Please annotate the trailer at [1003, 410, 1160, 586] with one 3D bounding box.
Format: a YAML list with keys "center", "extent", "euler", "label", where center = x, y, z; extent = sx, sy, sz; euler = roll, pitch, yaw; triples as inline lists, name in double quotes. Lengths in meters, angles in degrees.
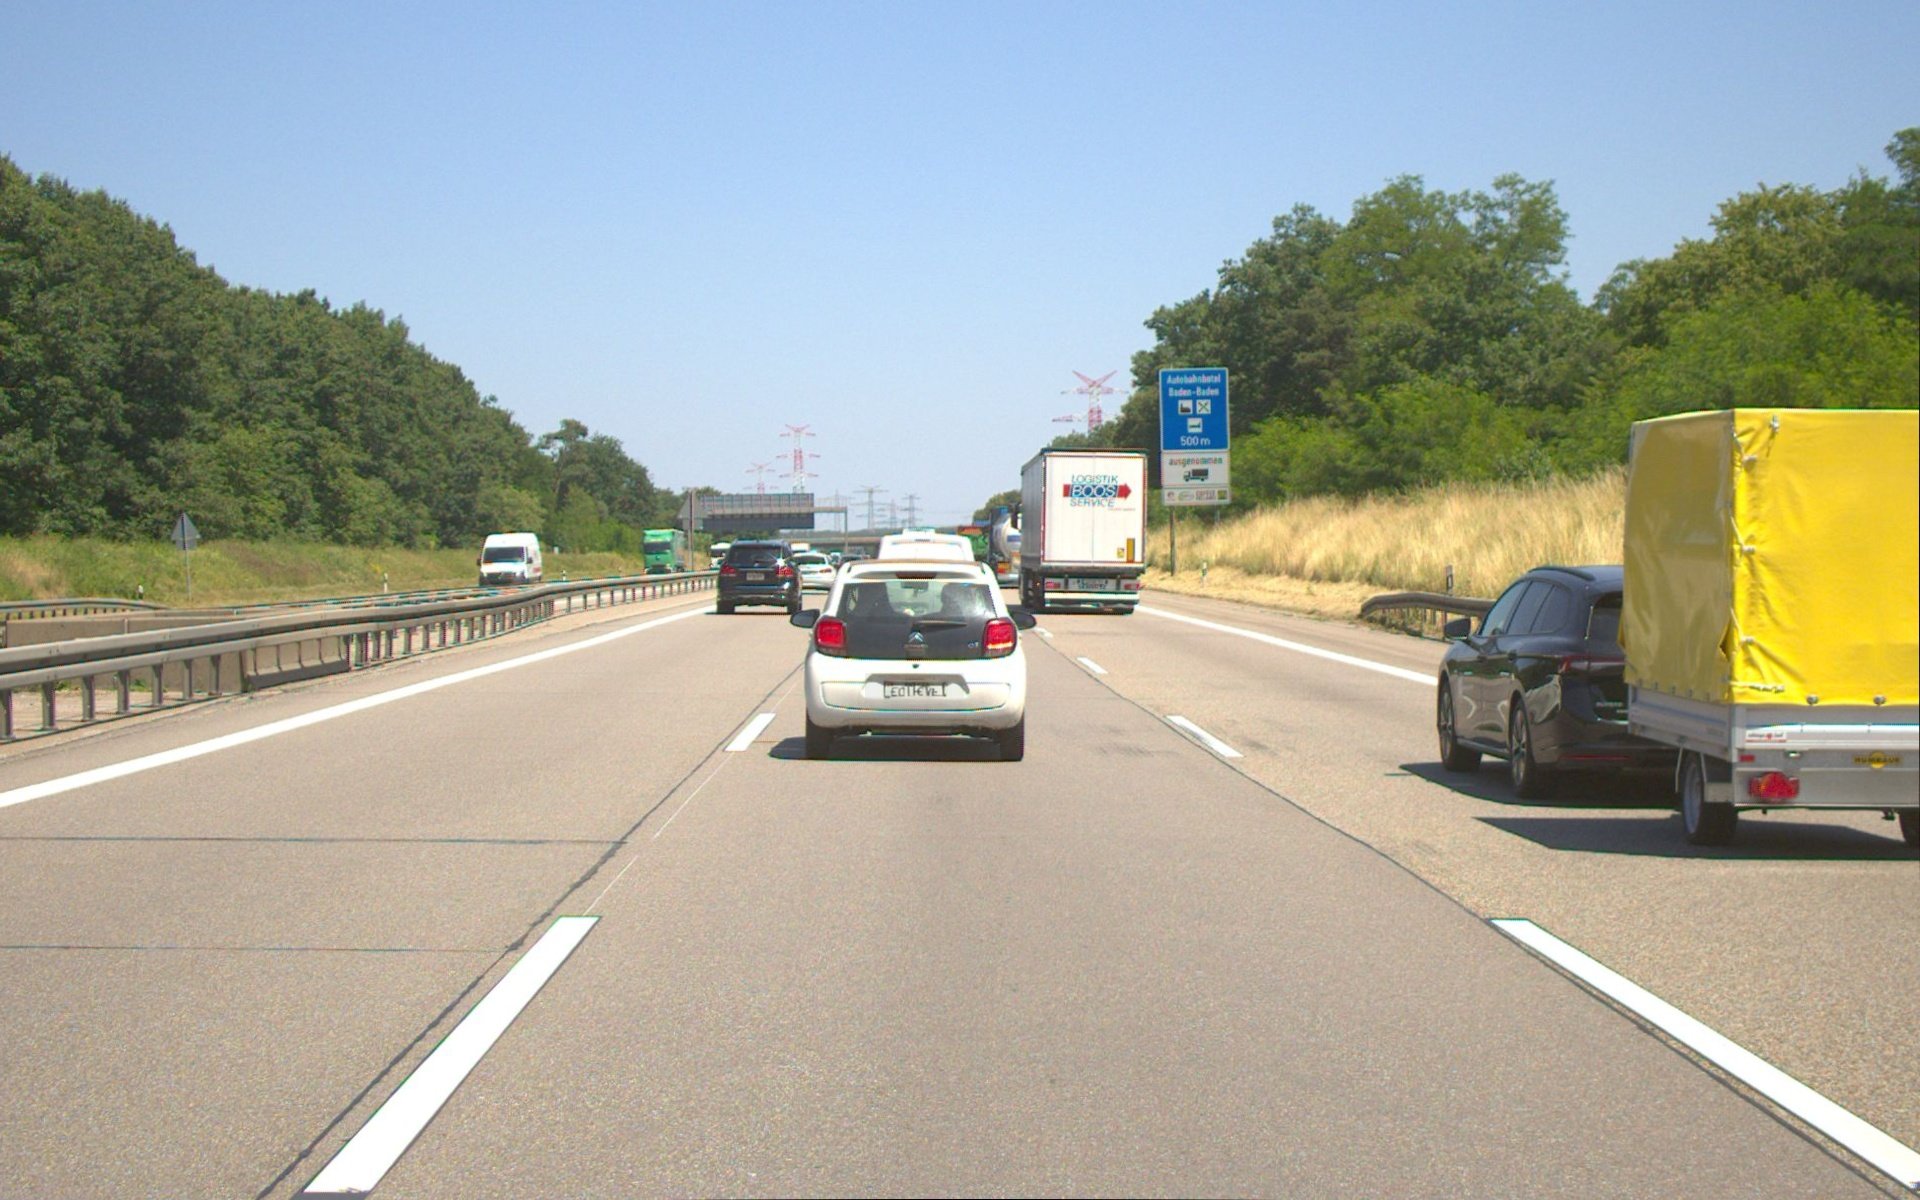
- center: [3.035, -2.536, 90.108]
  extent: [3.285, 4.205, 13.566]
  euler: [1, 1, -1]
  label: "trailer"

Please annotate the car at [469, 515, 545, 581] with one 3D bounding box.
- center: [-19.097, -2.221, 145.233]
  extent: [2.165, 2.616, 7.544]
  euler: [-3, 1, -1]
  label: "car"

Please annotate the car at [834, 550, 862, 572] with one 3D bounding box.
- center: [-6.777, -2.351, 208.890]
  extent: [1.607, 1.296, 3.674]
  euler: [1, 1, -1]
  label: "car"

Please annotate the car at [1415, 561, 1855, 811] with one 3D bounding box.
- center: [4.328, 0.483, 22.818]
  extent: [1.821, 1.451, 4.789]
  euler: [1, 1, -2]
  label: "car"

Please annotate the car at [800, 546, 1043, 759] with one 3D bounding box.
- center: [-0.301, 0.341, 26.383]
  extent: [1.708, 1.490, 4.024]
  euler: [1, 1, -1]
  label: "car"

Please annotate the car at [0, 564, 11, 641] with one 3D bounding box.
- center: [-21.826, 0.134, 73.369]
  extent: [1.702, 1.655, 5.117]
  euler: [-3, 1, -1]
  label: "car"

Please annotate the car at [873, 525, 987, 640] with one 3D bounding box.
- center: [-0.527, -0.303, 57.151]
  extent: [1.814, 1.821, 5.111]
  euler: [0, 1, -1]
  label: "car"

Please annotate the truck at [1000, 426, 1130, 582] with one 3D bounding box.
- center: [2.909, -2.642, 96.927]
  extent: [3.285, 4.205, 6.008]
  euler: [1, 0, -1]
  label: "truck"

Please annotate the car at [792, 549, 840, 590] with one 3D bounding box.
- center: [-5.133, -1.104, 122.570]
  extent: [1.669, 1.396, 3.713]
  euler: [0, 1, -2]
  label: "car"

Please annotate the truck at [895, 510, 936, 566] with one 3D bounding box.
- center: [-2.346, -3.213, 179.491]
  extent: [2.060, 2.904, 7.004]
  euler: [0, 1, -1]
  label: "truck"

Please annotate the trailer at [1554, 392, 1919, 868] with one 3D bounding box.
- center: [4.450, 0.121, 18.481]
  extent: [1.703, 2.282, 3.840]
  euler: [1, 1, -2]
  label: "trailer"

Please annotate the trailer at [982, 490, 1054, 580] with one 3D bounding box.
- center: [2.532, -2.841, 153.223]
  extent: [2.682, 3.824, 12.011]
  euler: [1, 1, -1]
  label: "trailer"

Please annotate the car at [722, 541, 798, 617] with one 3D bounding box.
- center: [-4.746, -0.526, 81.792]
  extent: [1.626, 1.749, 3.805]
  euler: [1, 1, -1]
  label: "car"
